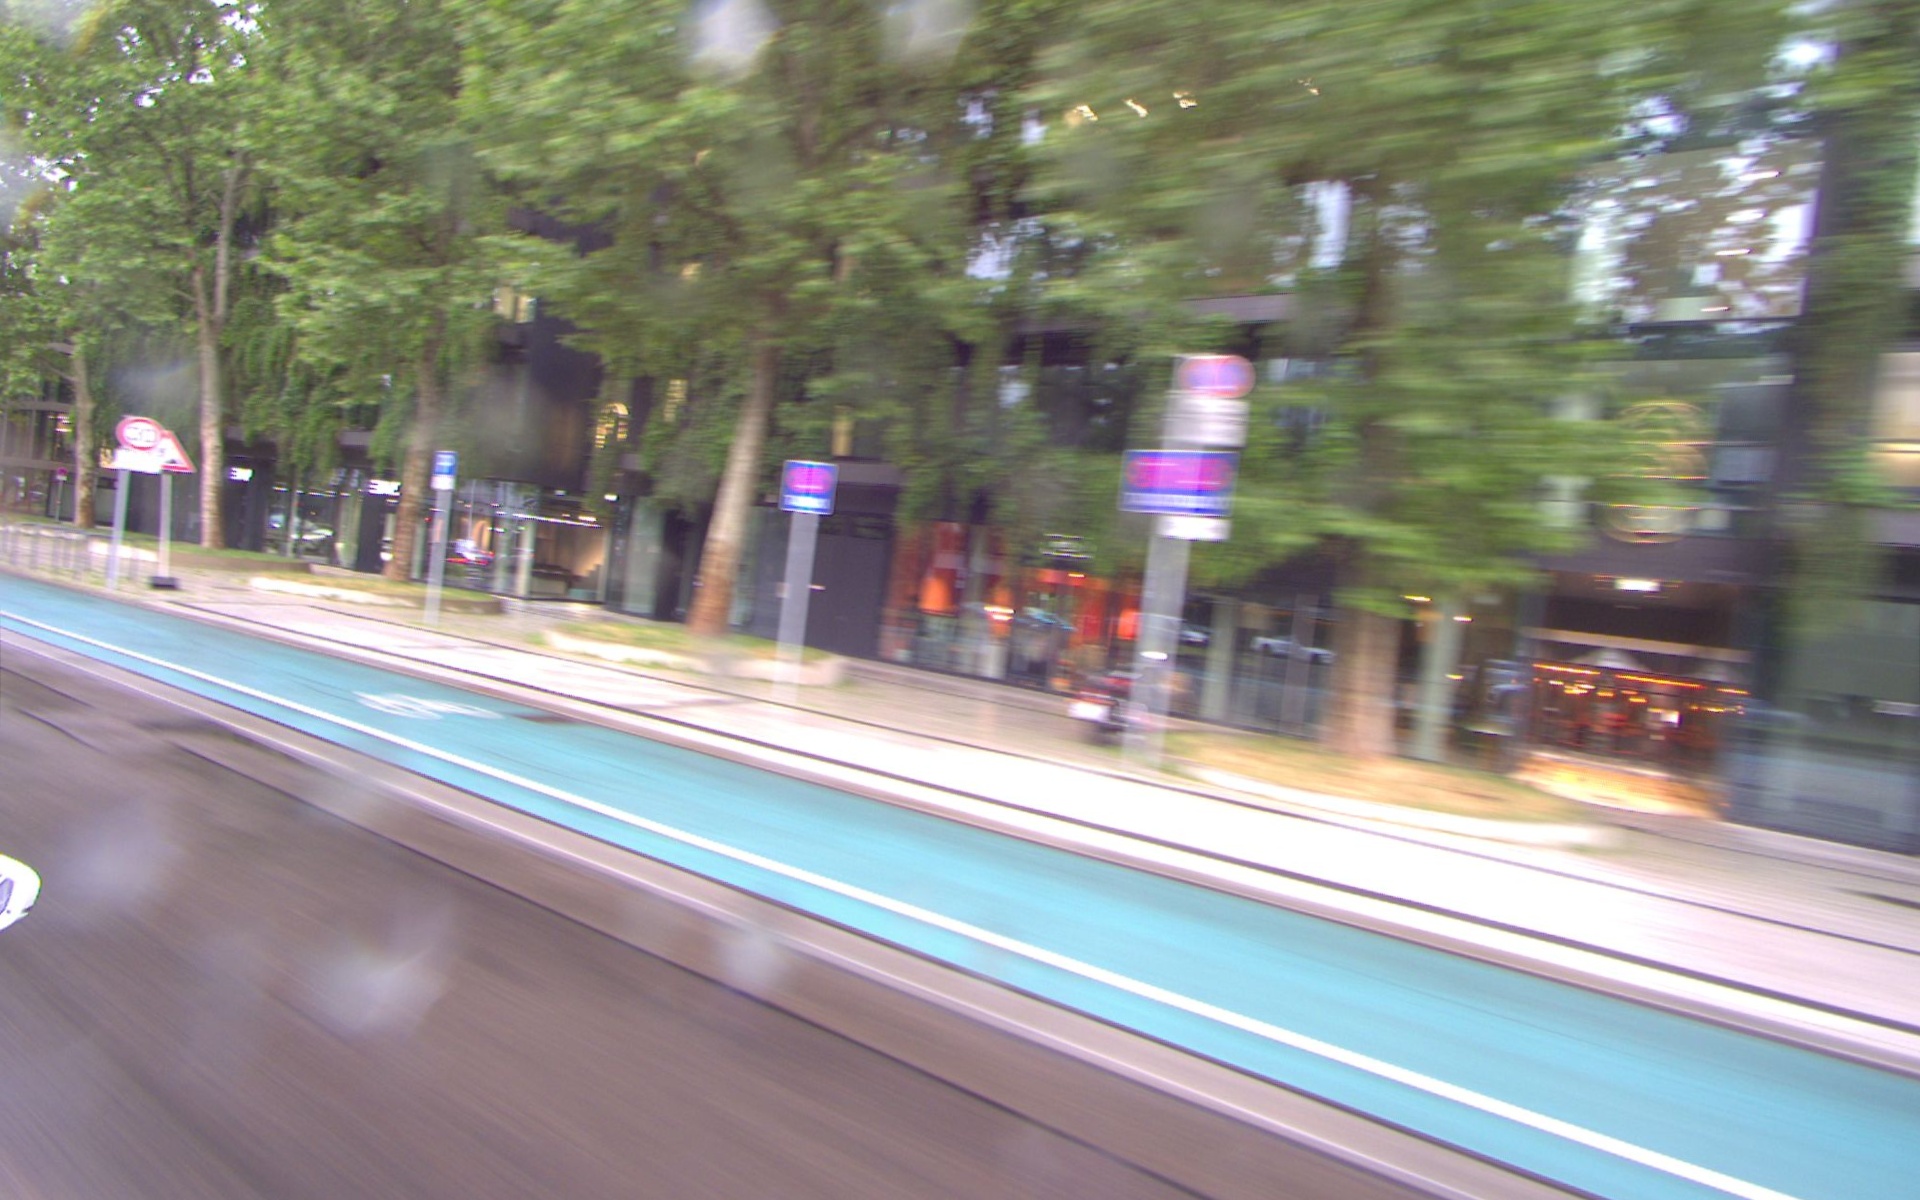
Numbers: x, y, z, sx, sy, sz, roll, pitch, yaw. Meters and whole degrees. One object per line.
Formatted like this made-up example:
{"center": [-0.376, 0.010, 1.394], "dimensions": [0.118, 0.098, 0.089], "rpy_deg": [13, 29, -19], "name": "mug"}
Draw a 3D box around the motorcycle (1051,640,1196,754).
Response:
{"center": [2.274, 1.329, 13.693], "dimensions": [1.035, 1.285, 2.312], "rpy_deg": [8, -2, 31], "name": "motorcycle"}
